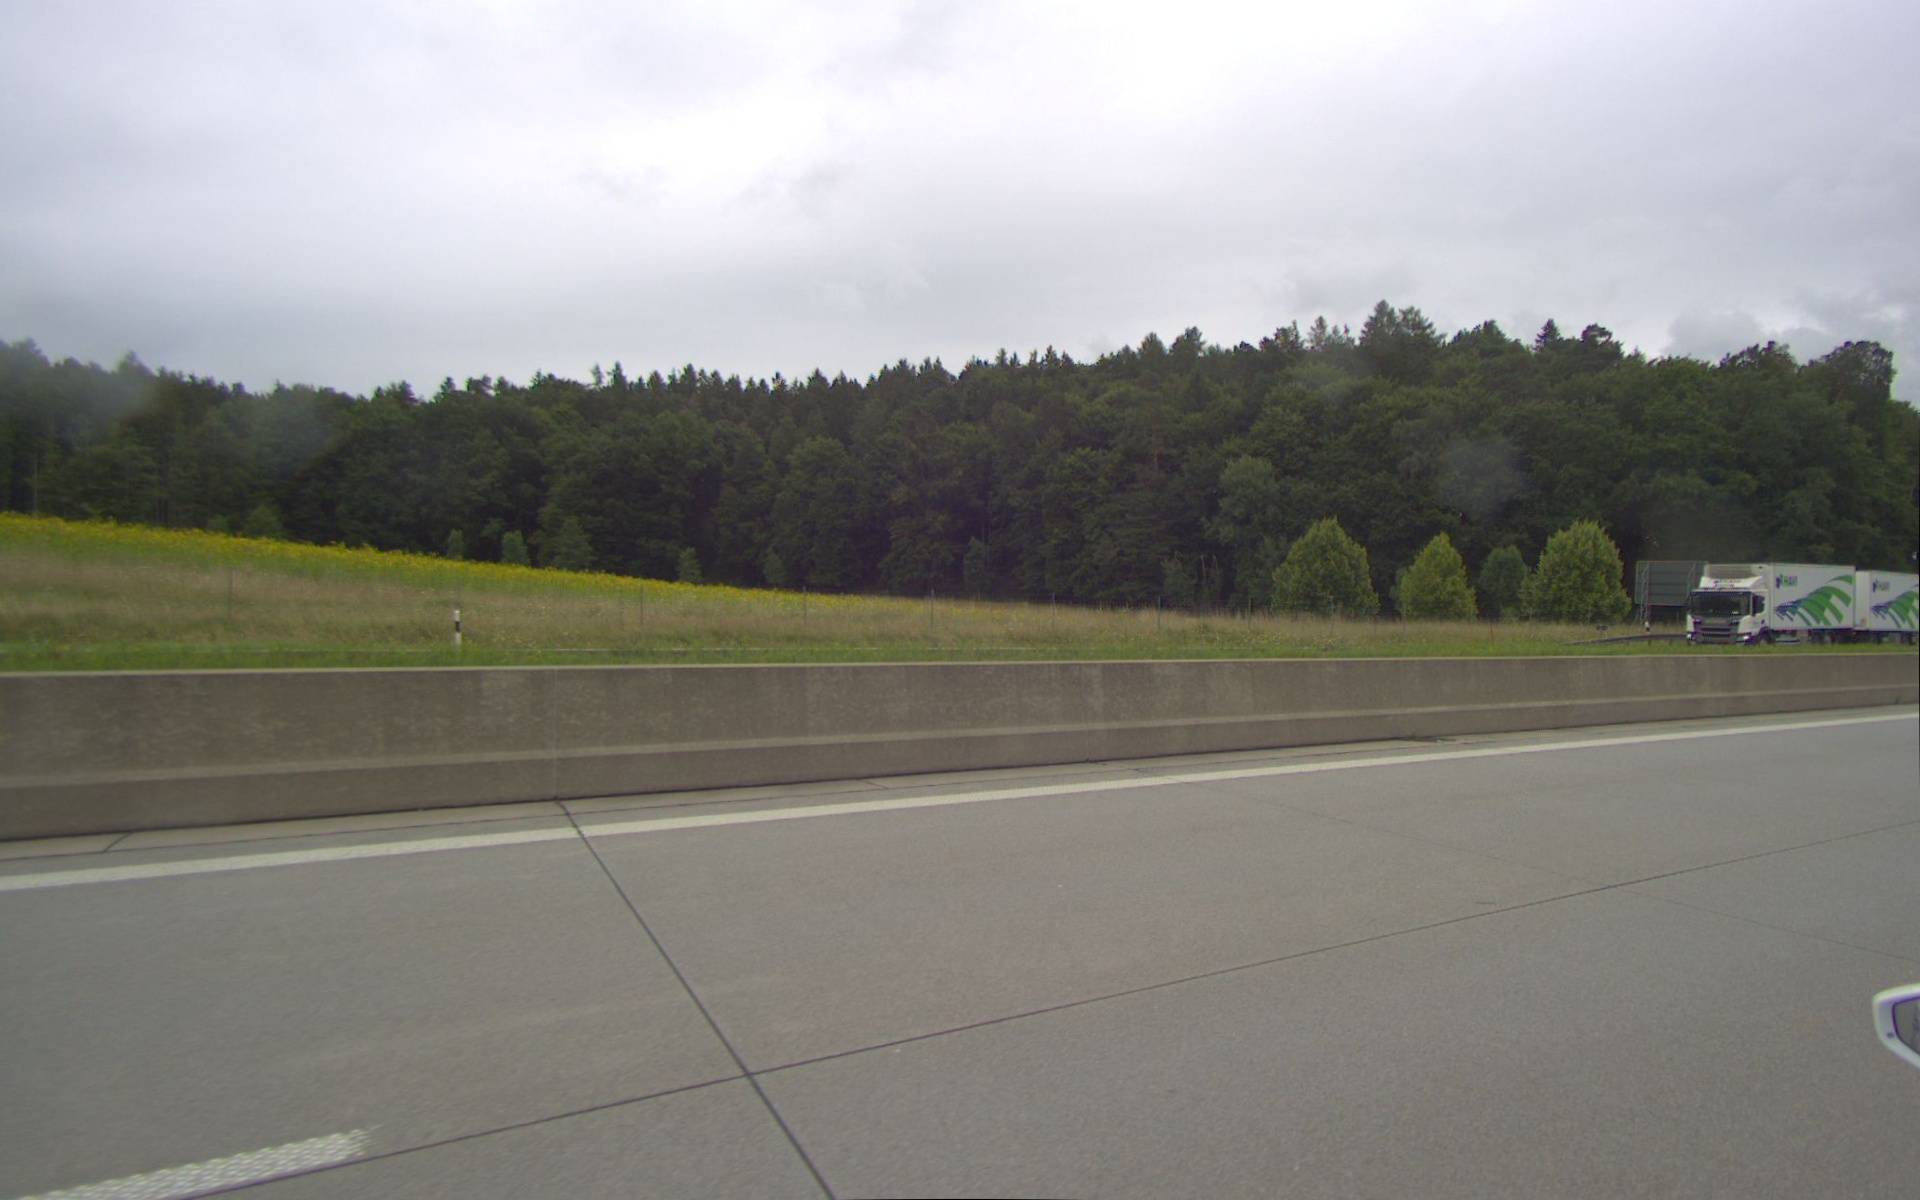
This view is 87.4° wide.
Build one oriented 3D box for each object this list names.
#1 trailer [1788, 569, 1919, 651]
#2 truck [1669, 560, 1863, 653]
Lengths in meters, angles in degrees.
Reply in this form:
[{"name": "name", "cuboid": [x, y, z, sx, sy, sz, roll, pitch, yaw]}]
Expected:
[{"name": "trailer", "cuboid": [44.757, 0.485, 50.078, 7.623, 3.833, 2.806, 1, 1, -30]}, {"name": "truck", "cuboid": [36.575, 0.358, 45.397, 11.214, 3.823, 2.800, 1, 0, -30]}]
